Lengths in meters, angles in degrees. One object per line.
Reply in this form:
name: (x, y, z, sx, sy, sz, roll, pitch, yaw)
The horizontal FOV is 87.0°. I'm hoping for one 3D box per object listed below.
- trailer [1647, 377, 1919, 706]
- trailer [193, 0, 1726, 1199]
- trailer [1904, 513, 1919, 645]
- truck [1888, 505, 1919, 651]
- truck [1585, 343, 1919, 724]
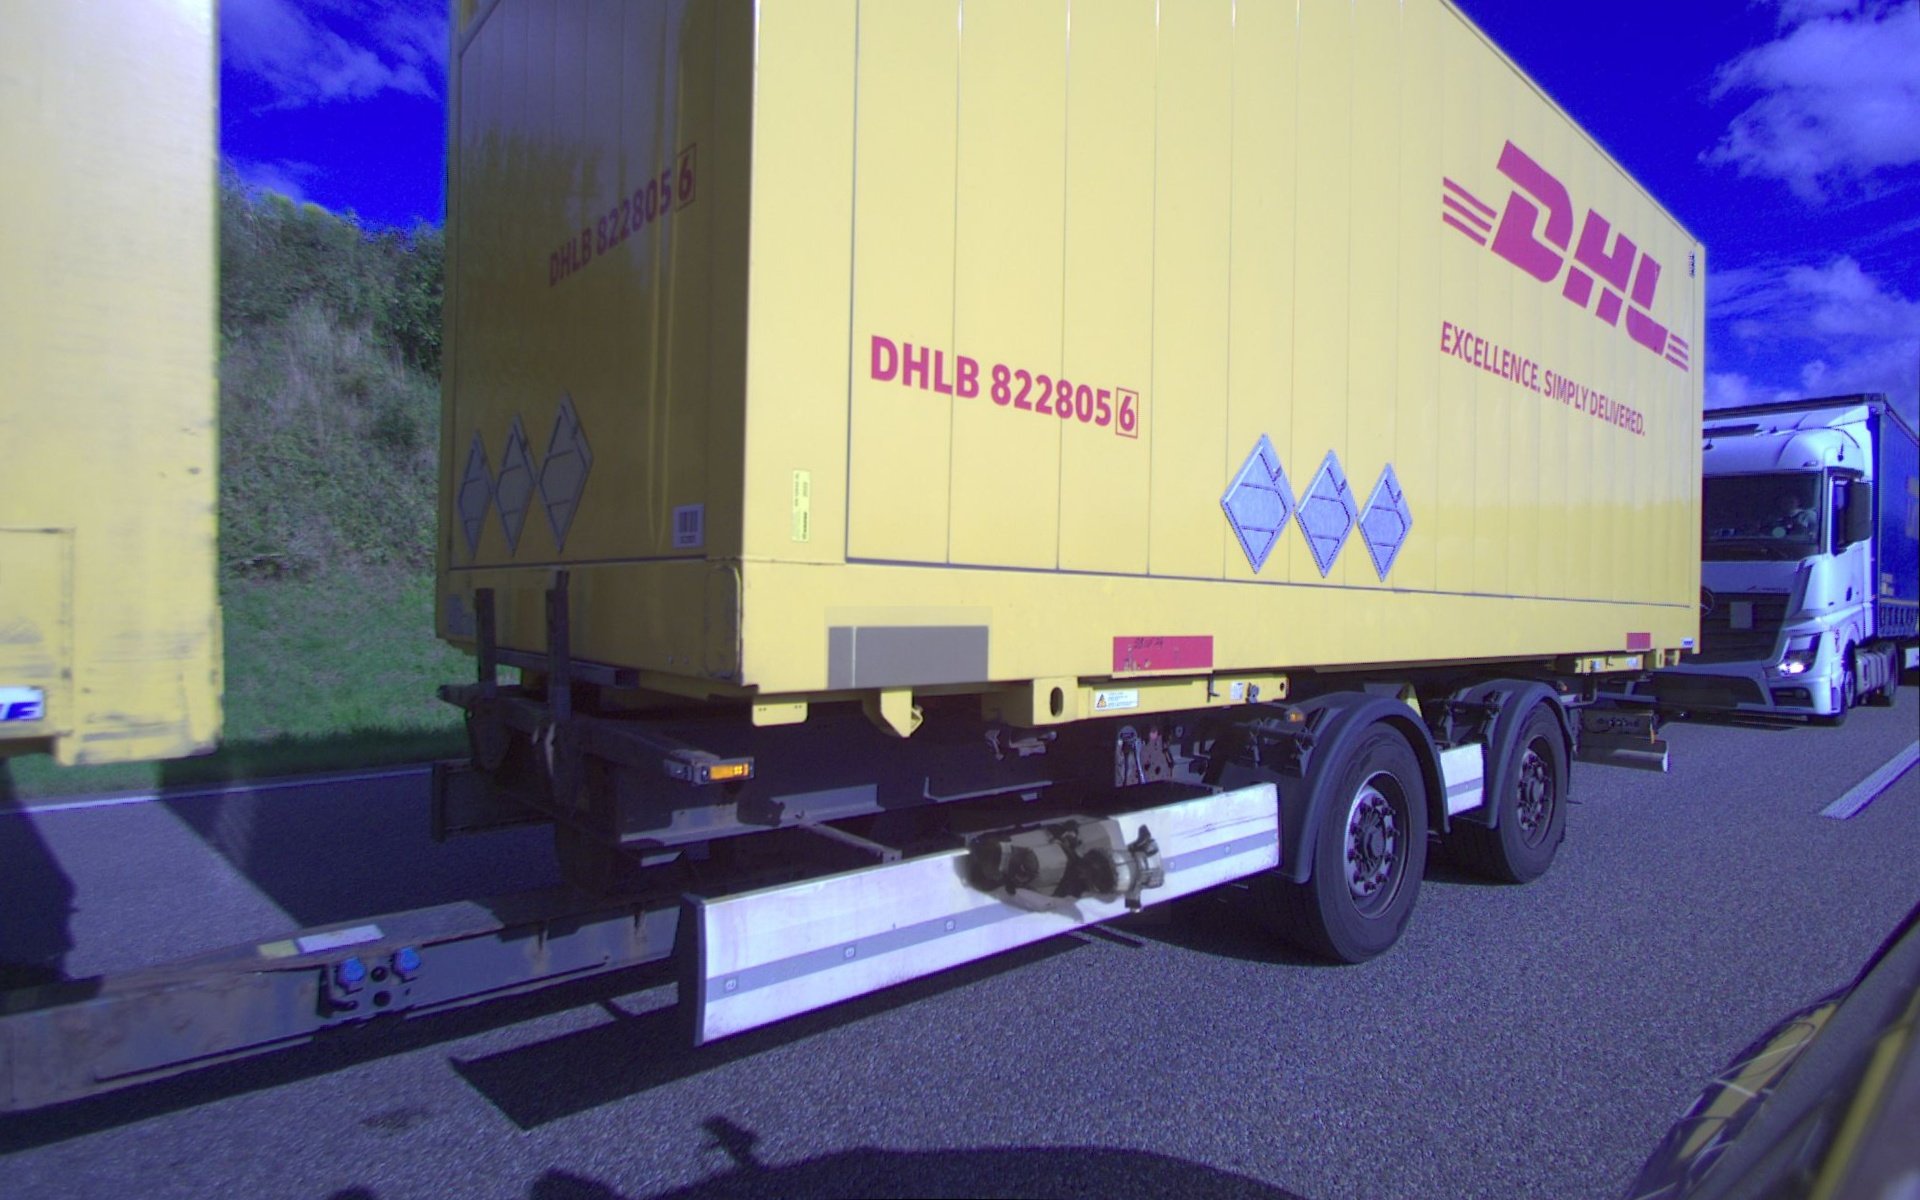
trailer: (16.106, -0.783, 18.297, 13.735, 4.149, 2.647, 0, 0, -41)
trailer: (1.503, -0.729, 5.398, 8.770, 4.120, 2.416, 0, 0, -41)
trailer: (33.614, -0.573, 33.375, 10.981, 3.984, 2.650, 1, -1, -42)
truck: (29.234, -0.573, 29.439, 6.821, 3.975, 2.653, 1, 0, -42)
truck: (11.313, -0.750, 14.126, 6.378, 4.141, 2.653, 0, 0, -41)
